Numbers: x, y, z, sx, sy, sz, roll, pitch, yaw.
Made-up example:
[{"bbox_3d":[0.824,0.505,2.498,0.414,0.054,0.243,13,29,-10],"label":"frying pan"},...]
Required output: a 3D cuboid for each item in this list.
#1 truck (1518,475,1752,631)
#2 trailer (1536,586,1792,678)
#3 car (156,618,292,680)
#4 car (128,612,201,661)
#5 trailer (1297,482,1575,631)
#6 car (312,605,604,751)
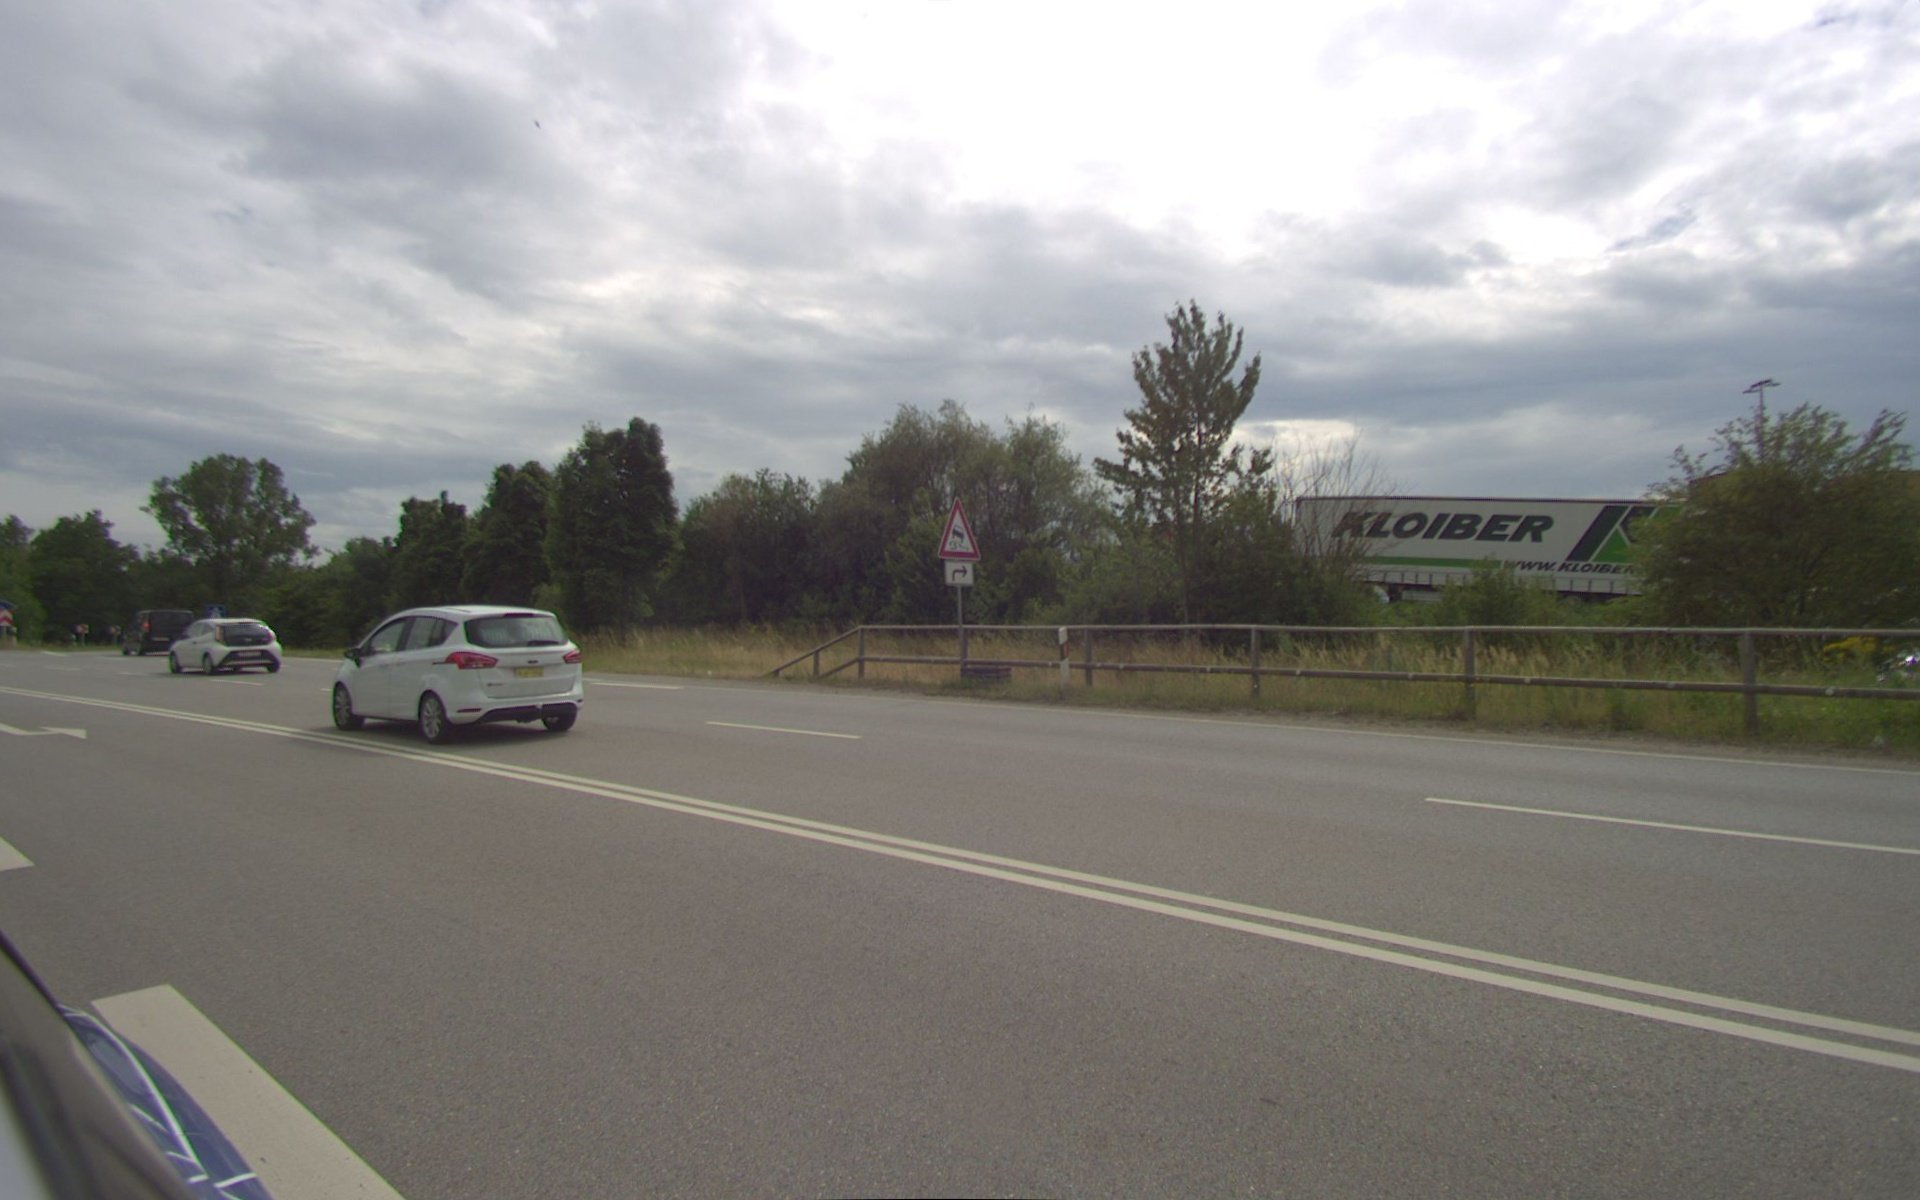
[{"bbox_3d":[23.394,-1.496,35.468,6.140,5.034,2.787,-1,-1,19],"label":"truck"},{"bbox_3d":[35.637,1.637,51.876,10.372,4.325,3.206,-2,-1,33],"label":"trailer"},{"bbox_3d":[-19.739,1.278,27.107,3.735,1.500,1.860,-2,-1,35],"label":"car"},{"bbox_3d":[-31.856,1.431,40.483,1.970,1.811,4.324,0,-1,-43],"label":"car"},{"bbox_3d":[17.299,-1.455,37.574,8.912,5.034,2.790,-1,-1,19],"label":"trailer"},{"bbox_3d":[-6.316,0.862,12.566,3.995,1.529,1.713,-1,-1,38],"label":"car"}]
